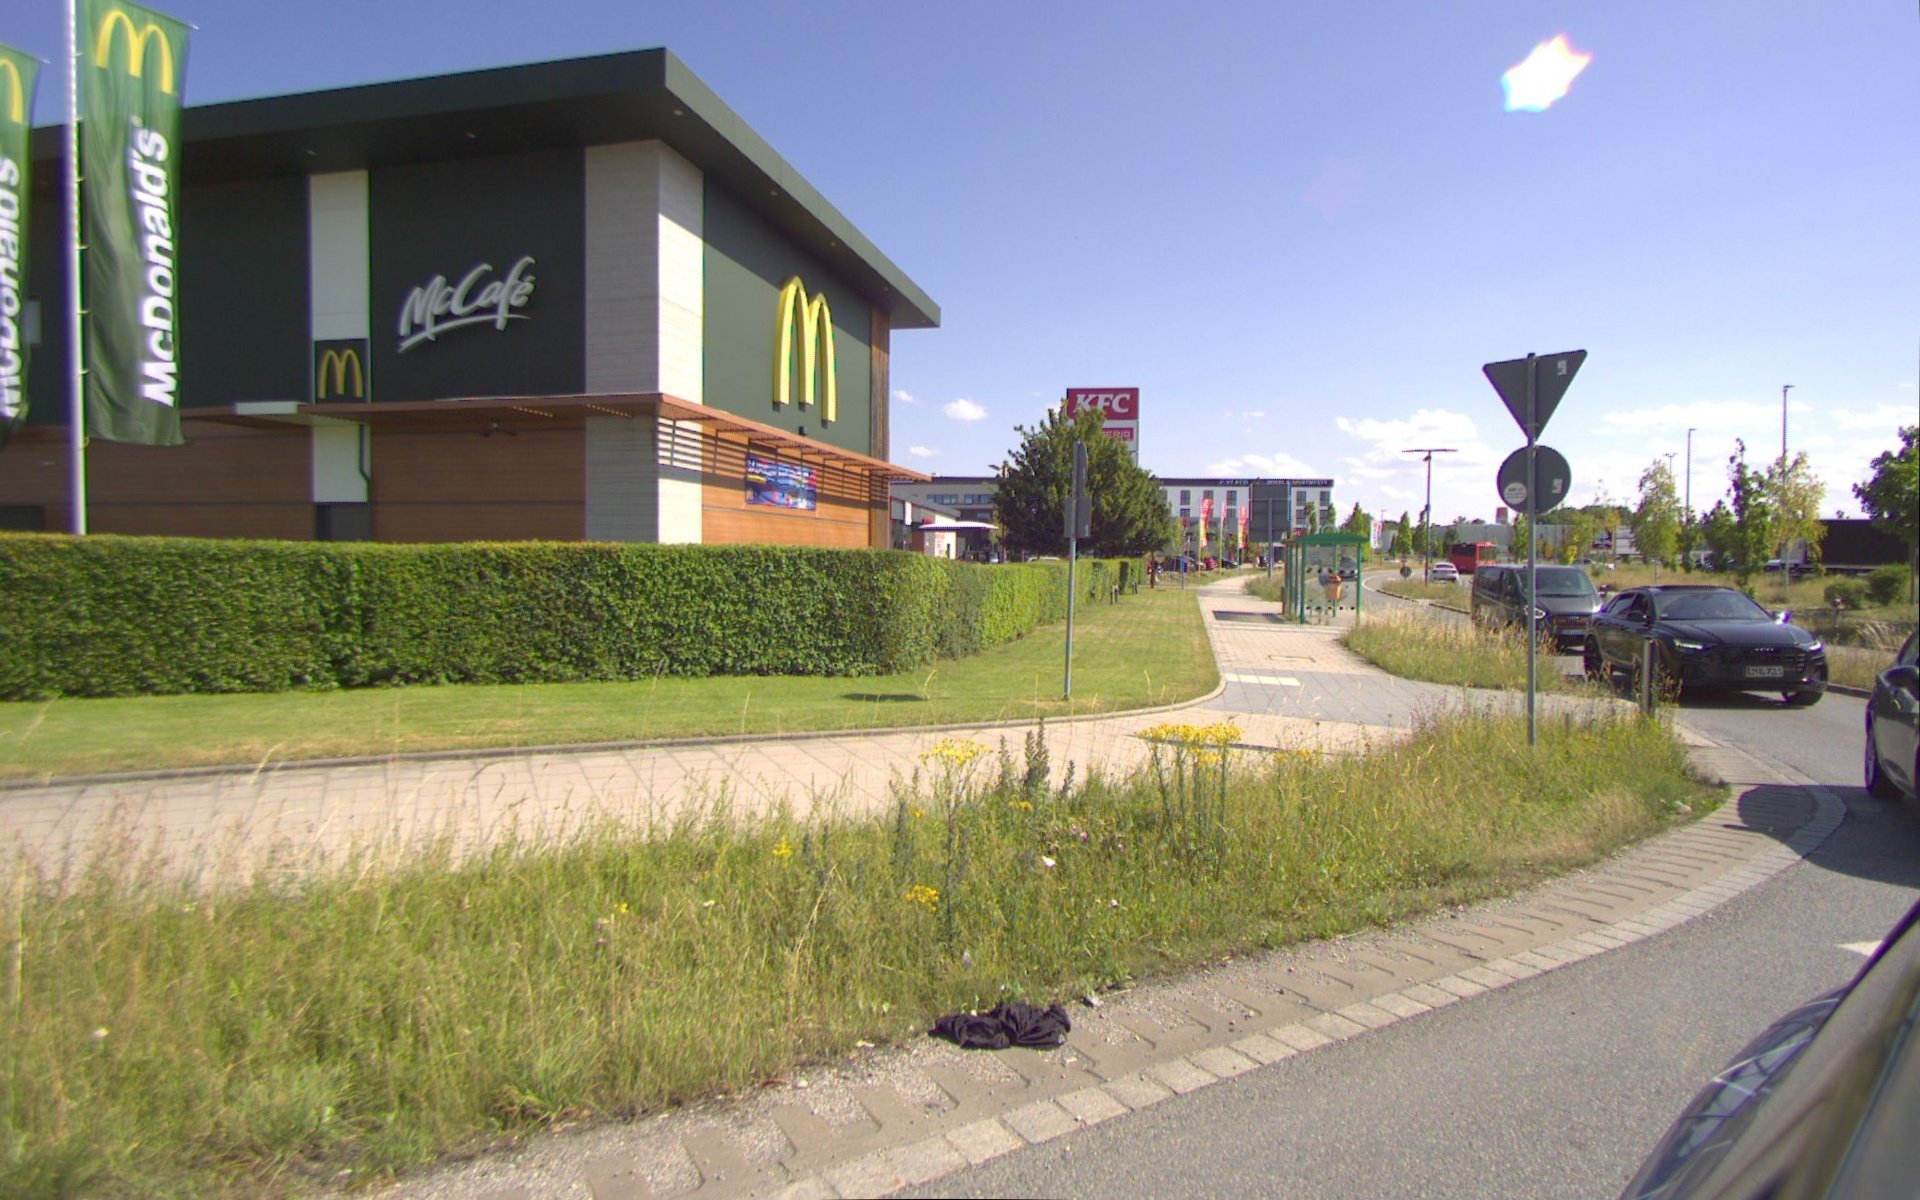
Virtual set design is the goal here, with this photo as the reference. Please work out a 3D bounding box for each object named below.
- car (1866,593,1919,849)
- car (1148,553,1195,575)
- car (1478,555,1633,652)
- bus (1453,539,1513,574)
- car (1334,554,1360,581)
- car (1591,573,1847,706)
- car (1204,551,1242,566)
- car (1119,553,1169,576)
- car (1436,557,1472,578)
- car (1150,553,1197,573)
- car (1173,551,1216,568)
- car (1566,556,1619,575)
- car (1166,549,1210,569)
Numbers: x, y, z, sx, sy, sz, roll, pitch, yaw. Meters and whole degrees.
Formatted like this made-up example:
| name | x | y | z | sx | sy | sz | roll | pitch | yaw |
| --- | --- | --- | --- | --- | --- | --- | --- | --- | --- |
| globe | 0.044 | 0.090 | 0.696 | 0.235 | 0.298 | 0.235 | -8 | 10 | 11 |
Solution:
| name | x | y | z | sx | sy | sz | roll | pitch | yaw |
| --- | --- | --- | --- | --- | --- | --- | --- | --- | --- |
| car | 7.057 | 0.766 | 6.219 | 1.853 | 1.486 | 3.947 | 2 | 3 | 37 |
| car | 20.407 | -3.531 | 97.703 | 4.149 | 2.038 | 1.915 | 2 | 3 | 29 |
| car | 14.259 | -0.004 | 24.565 | 2.051 | 2.073 | 4.662 | -2 | 2 | 16 |
| bus | 51.370 | -4.219 | 99.191 | 2.607 | 3.281 | 11.707 | 2 | 3 | 41 |
| car | 28.675 | -2.407 | 74.953 | 1.710 | 1.927 | 3.973 | 1 | 2 | 21 |
| car | 11.610 | 0.508 | 15.840 | 1.837 | 1.709 | 3.982 | -2 | 2 | 16 |
| car | 29.238 | -4.577 | 112.419 | 3.789 | 1.639 | 1.741 | 2 | 3 | 28 |
| car | 16.683 | -3.240 | 91.777 | 4.150 | 2.038 | 1.914 | 2 | 3 | 29 |
| car | 34.879 | -2.315 | 71.441 | 1.784 | 1.433 | 4.331 | 2 | 2 | 33 |
| car | 21.091 | -3.697 | 100.031 | 4.156 | 1.880 | 1.783 | 2 | 3 | 32 |
| car | 24.896 | -4.334 | 107.371 | 4.154 | 1.783 | 1.804 | 2 | 3 | 32 |
| car | 60.295 | -3.321 | 96.523 | 1.591 | 1.697 | 3.943 | -1 | 3 | -40 |
| car | 23.555 | -4.268 | 104.446 | 4.146 | 2.038 | 1.916 | 2 | 3 | 27 |
